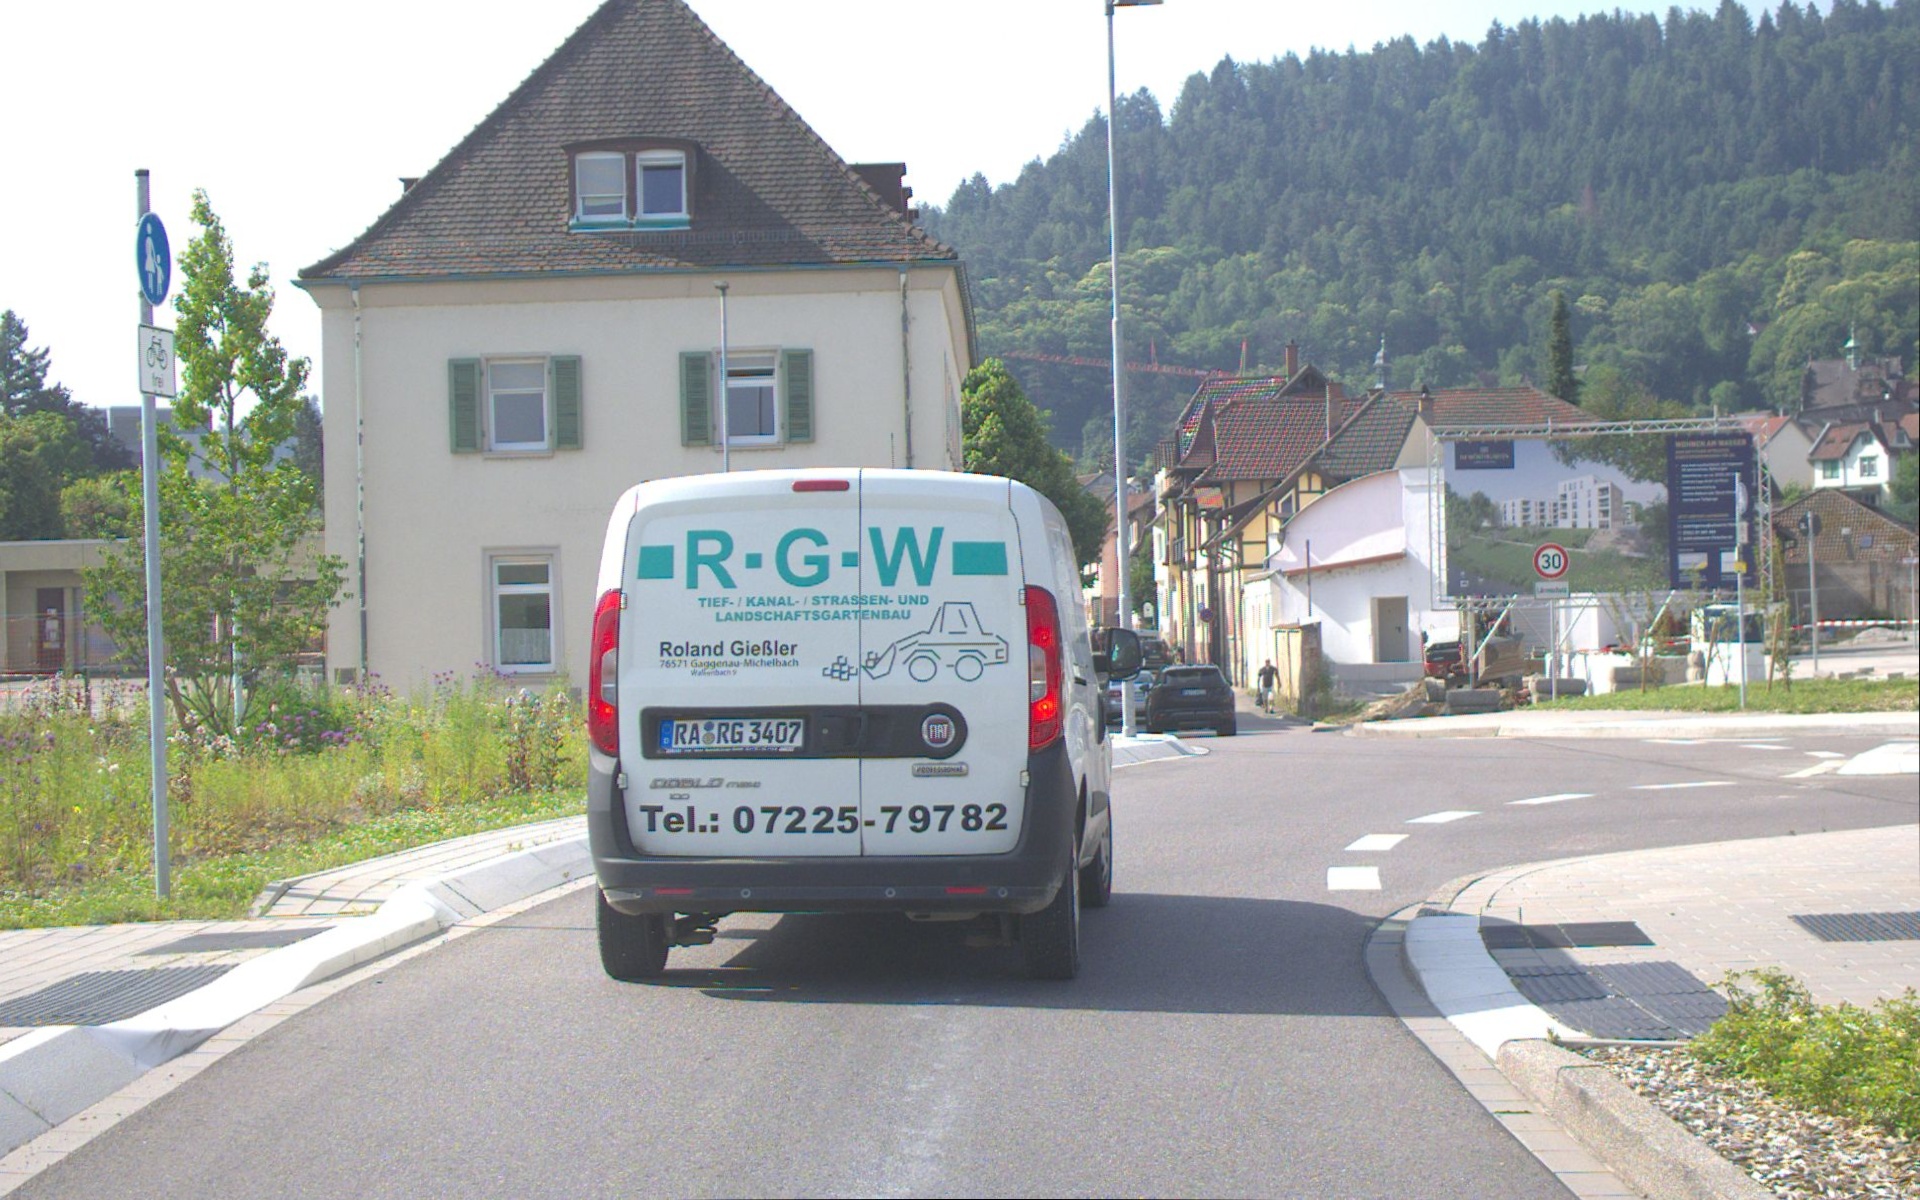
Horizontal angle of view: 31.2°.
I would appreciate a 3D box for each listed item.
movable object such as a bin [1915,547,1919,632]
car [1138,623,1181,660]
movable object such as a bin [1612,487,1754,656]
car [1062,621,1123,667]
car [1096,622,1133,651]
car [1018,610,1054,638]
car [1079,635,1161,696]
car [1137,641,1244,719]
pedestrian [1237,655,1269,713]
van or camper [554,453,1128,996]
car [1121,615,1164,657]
[{"bbox_3d":[30.142,-0.378,99.092,4.618,2.561,1.922,-3,-1,26],"label":"movable object such as a bin"},{"bbox_3d":[9.300,1.928,160.468,1.810,1.591,3.926,1,0,1],"label":"car"},{"bbox_3d":[17.283,-0.610,82.569,2.295,3.841,7.797,1,-1,4],"label":"movable object such as a bin"},{"bbox_3d":[4.930,1.638,128.785,1.810,1.591,3.927,1,0,-5],"label":"car"},{"bbox_3d":[8.406,1.978,186.903,1.669,1.503,4.000,-2,0,-1],"label":"car"},{"bbox_3d":[4.437,1.402,201.979,1.810,1.591,3.927,1,0,-3],"label":"car"},{"bbox_3d":[4.468,1.833,96.453,1.810,1.591,3.927,1,0,-5],"label":"car"},{"bbox_3d":[5.123,1.765,76.889,1.810,1.591,3.927,1,0,-5],"label":"car"},{"bbox_3d":[8.657,2.480,101.494,0.888,1.677,0.718,0,-1,1],"label":"pedestrian"},{"bbox_3d":[-0.314,0.460,13.896,1.828,1.838,4.187,-1,-1,5],"label":"van or camper"},{"bbox_3d":[9.044,1.761,170.542,1.871,2.007,4.000,-1,0,0],"label":"car"}]
